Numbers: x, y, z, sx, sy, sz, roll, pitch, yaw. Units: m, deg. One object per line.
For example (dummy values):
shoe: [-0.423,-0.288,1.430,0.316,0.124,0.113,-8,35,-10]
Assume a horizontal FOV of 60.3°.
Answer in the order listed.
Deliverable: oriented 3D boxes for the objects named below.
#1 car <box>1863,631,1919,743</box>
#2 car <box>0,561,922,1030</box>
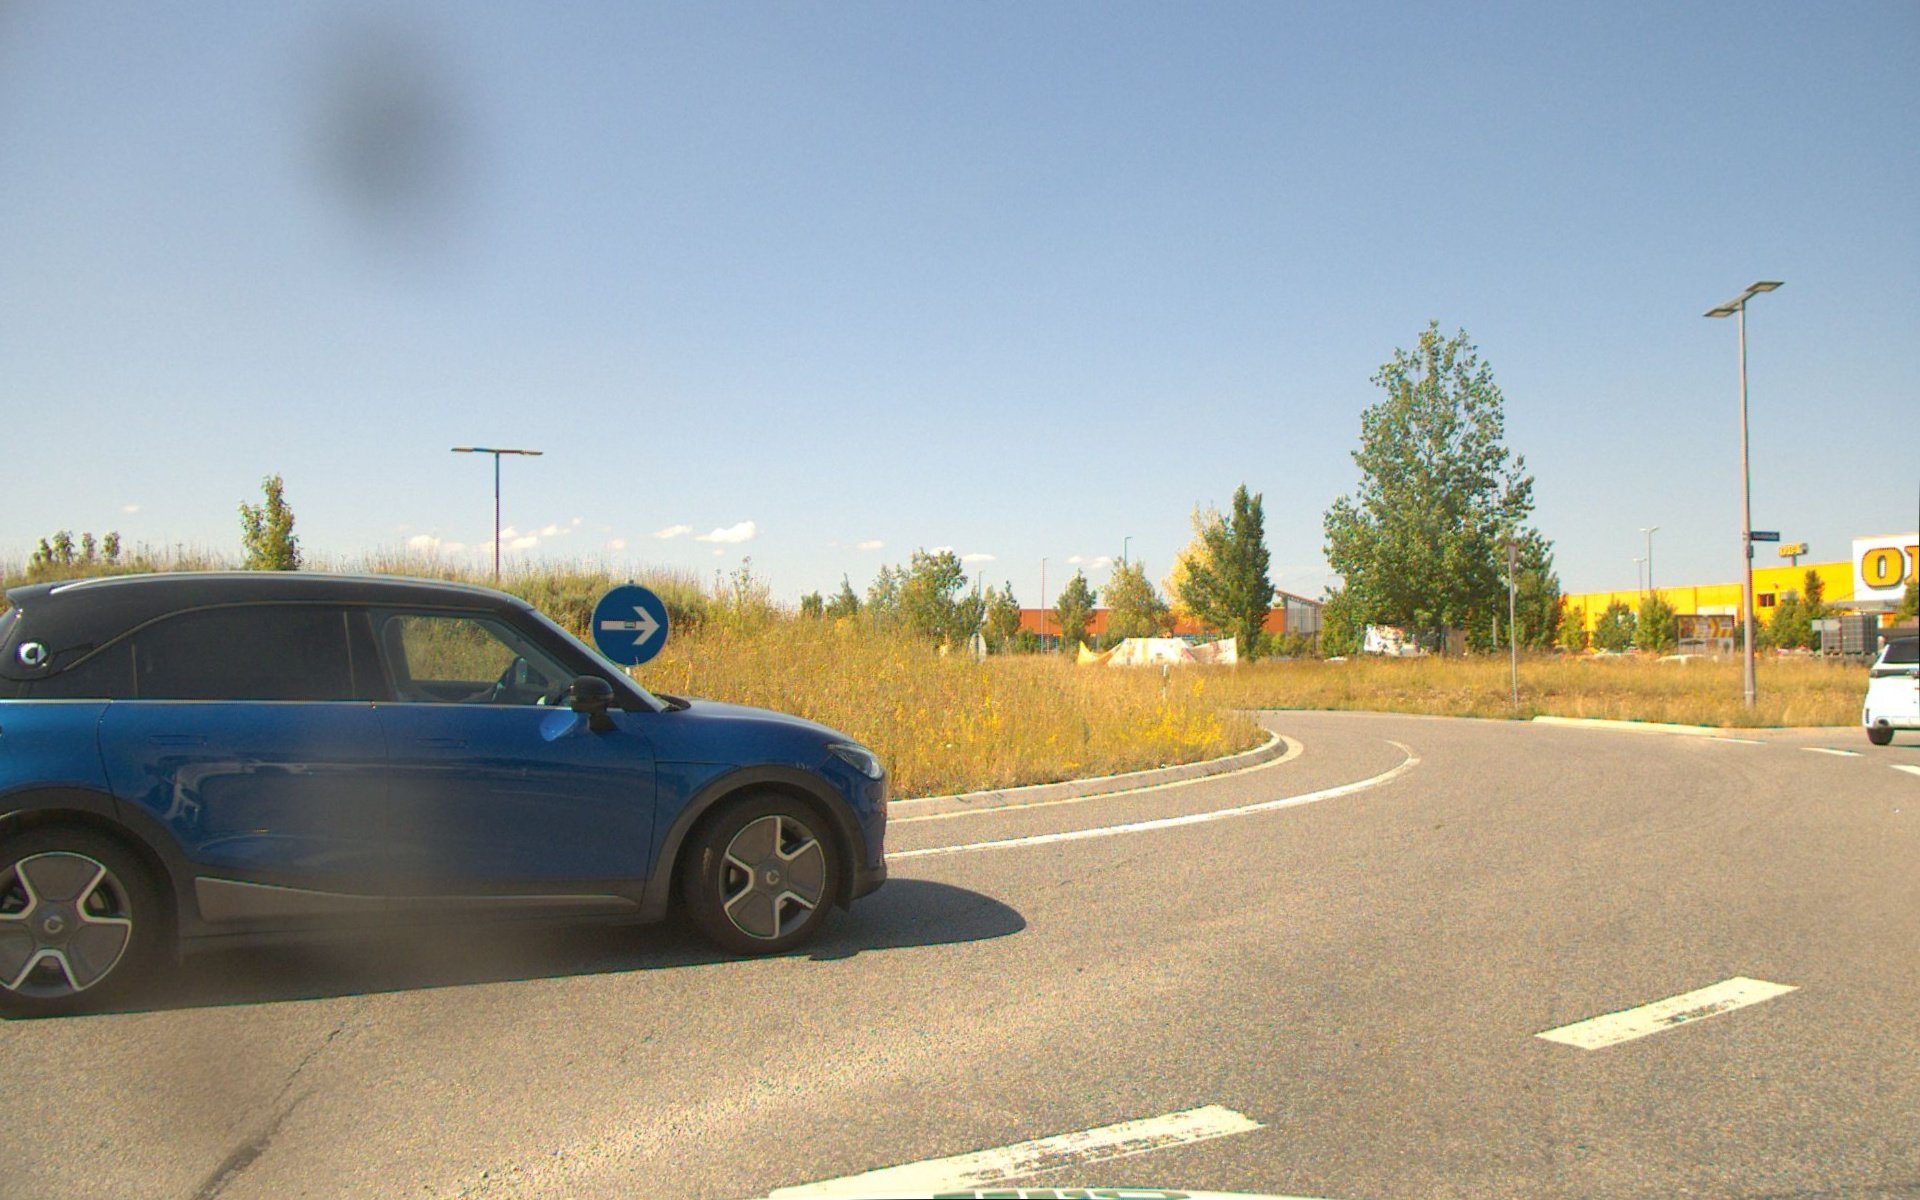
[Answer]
car: [13.863,1.151,22.665,3.318,1.466,1.492,0,-2,-40]
car: [-2.357,0.693,7.321,4.010,1.664,1.844,0,0,-23]
